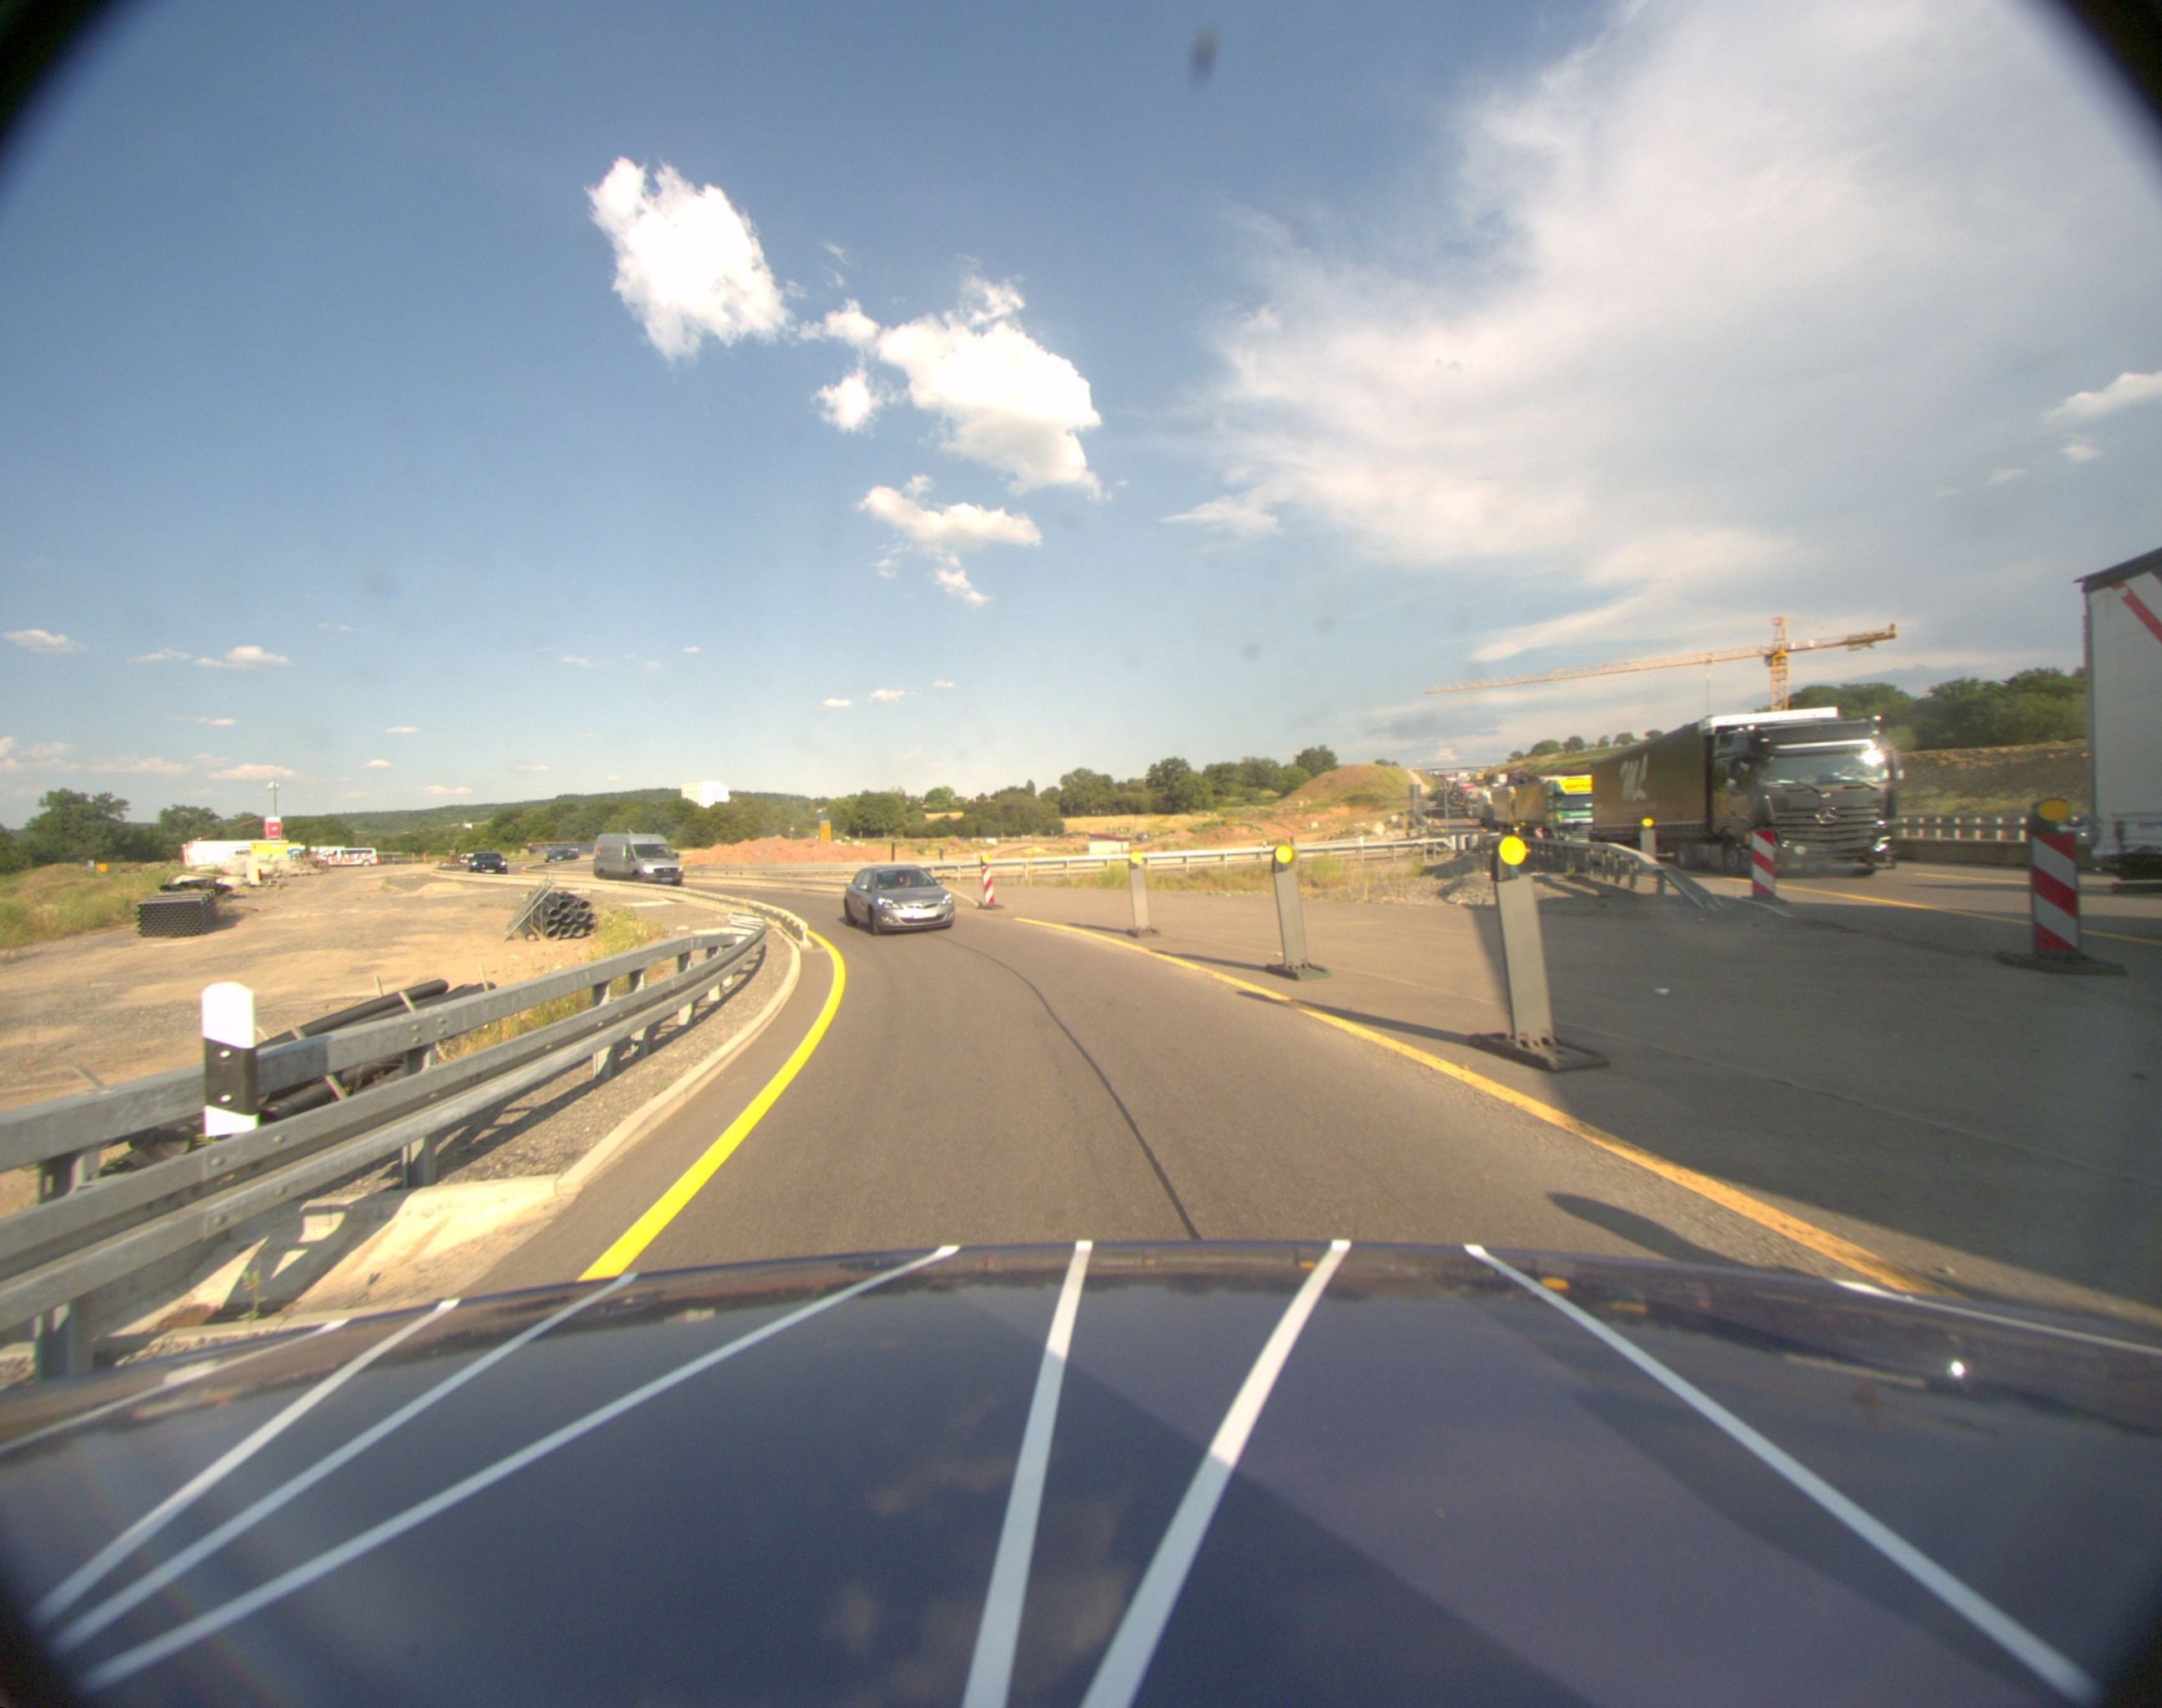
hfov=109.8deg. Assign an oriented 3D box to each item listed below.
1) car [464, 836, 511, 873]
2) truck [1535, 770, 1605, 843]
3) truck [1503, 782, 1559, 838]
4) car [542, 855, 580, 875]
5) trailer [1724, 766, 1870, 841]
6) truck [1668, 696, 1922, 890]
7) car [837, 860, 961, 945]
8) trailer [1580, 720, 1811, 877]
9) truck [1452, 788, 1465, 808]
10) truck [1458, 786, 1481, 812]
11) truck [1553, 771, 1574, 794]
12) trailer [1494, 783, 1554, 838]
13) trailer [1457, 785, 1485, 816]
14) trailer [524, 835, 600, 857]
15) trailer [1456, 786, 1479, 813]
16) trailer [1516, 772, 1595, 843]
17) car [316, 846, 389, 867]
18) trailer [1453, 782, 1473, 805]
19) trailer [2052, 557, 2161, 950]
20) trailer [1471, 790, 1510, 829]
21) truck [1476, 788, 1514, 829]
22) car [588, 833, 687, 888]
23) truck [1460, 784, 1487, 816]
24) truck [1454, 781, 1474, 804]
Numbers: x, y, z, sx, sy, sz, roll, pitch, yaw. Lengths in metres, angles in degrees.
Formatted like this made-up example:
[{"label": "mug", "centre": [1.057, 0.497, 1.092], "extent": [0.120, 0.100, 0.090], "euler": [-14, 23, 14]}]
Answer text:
[{"label": "car", "centre": [-40.279, -0.035, 51.503], "extent": [3.988, 2.390, 1.880], "euler": [2, 4, 44]}, {"label": "truck", "centre": [28.215, -2.686, 44.042], "extent": [2.482, 3.880, 6.019], "euler": [-1, 2, 24]}, {"label": "truck", "centre": [36.204, -3.485, 61.355], "extent": [3.106, 4.290, 6.906], "euler": [1, 3, 25]}, {"label": "car", "centre": [-53.787, 1.106, 78.668], "extent": [1.638, 1.777, 4.121], "euler": [-1, 2, -11]}, {"label": "trailer", "centre": [39.634, -2.701, 42.568], "extent": [3.009, 3.731, 9.583], "euler": [1, 3, 25]}, {"label": "truck", "centre": [17.453, -1.379, 19.151], "extent": [2.483, 4.038, 6.018], "euler": [-1, 2, 20]}, {"label": "car", "centre": [-4.335, 1.002, 17.567], "extent": [1.751, 1.476, 4.241], "euler": [-4, 3, -27]}, {"label": "trailer", "centre": [20.388, -1.711, 26.470], "extent": [2.483, 4.039, 13.648], "euler": [-1, 2, 23]}, {"label": "truck", "centre": [84.207, -12.442, 169.536], "extent": [2.517, 3.979, 8.565], "euler": [1, 3, 26]}, {"label": "truck", "centre": [65.864, -9.261, 128.981], "extent": [3.106, 4.290, 6.906], "euler": [1, 3, 25]}, {"label": "truck", "centre": [106.094, -15.530, 167.061], "extent": [3.562, 4.388, 13.197], "euler": [1, 3, 33]}, {"label": "trailer", "centre": [38.938, -3.762, 67.275], "extent": [3.106, 4.290, 14.271], "euler": [1, 3, 25]}, {"label": "trailer", "centre": [59.276, -7.980, 115.705], "extent": [3.106, 4.290, 14.271], "euler": [1, 3, 25]}, {"label": "trailer", "centre": [-62.178, -1.018, 91.257], "extent": [3.008, 2.401, 7.234], "euler": [-1, 2, 15]}, {"label": "trailer", "centre": [68.756, -9.562, 135.389], "extent": [3.106, 4.290, 14.271], "euler": [1, 3, 25]}, {"label": "trailer", "centre": [30.830, -2.941, 49.898], "extent": [2.482, 3.936, 13.994], "euler": [-1, 2, 24]}, {"label": "car", "centre": [-80.064, 0.204, 83.557], "extent": [2.480, 2.067, 5.329], "euler": [1, 3, 36]}, {"label": "trailer", "centre": [77.879, -12.263, 155.214], "extent": [3.106, 4.290, 14.271], "euler": [1, 3, 25]}, {"label": "trailer", "centre": [9.584, -0.774, 1.958], "extent": [2.482, 3.857, 13.648], "euler": [-1, 2, 23]}, {"label": "trailer", "centre": [48.434, -5.190, 90.163], "extent": [3.106, 4.290, 14.271], "euler": [1, 3, 25]}, {"label": "truck", "centre": [45.397, -4.896, 83.456], "extent": [3.106, 4.290, 6.906], "euler": [1, 3, 25]}, {"label": "car", "centre": [-21.656, 0.235, 37.010], "extent": [5.780, 2.487, 1.921], "euler": [1, 3, 36]}, {"label": "truck", "centre": [56.097, -7.649, 108.758], "extent": [3.106, 4.290, 6.906], "euler": [1, 3, 25]}, {"label": "truck", "centre": [74.534, -11.935, 147.946], "extent": [3.106, 4.290, 6.906], "euler": [1, 3, 25]}]
